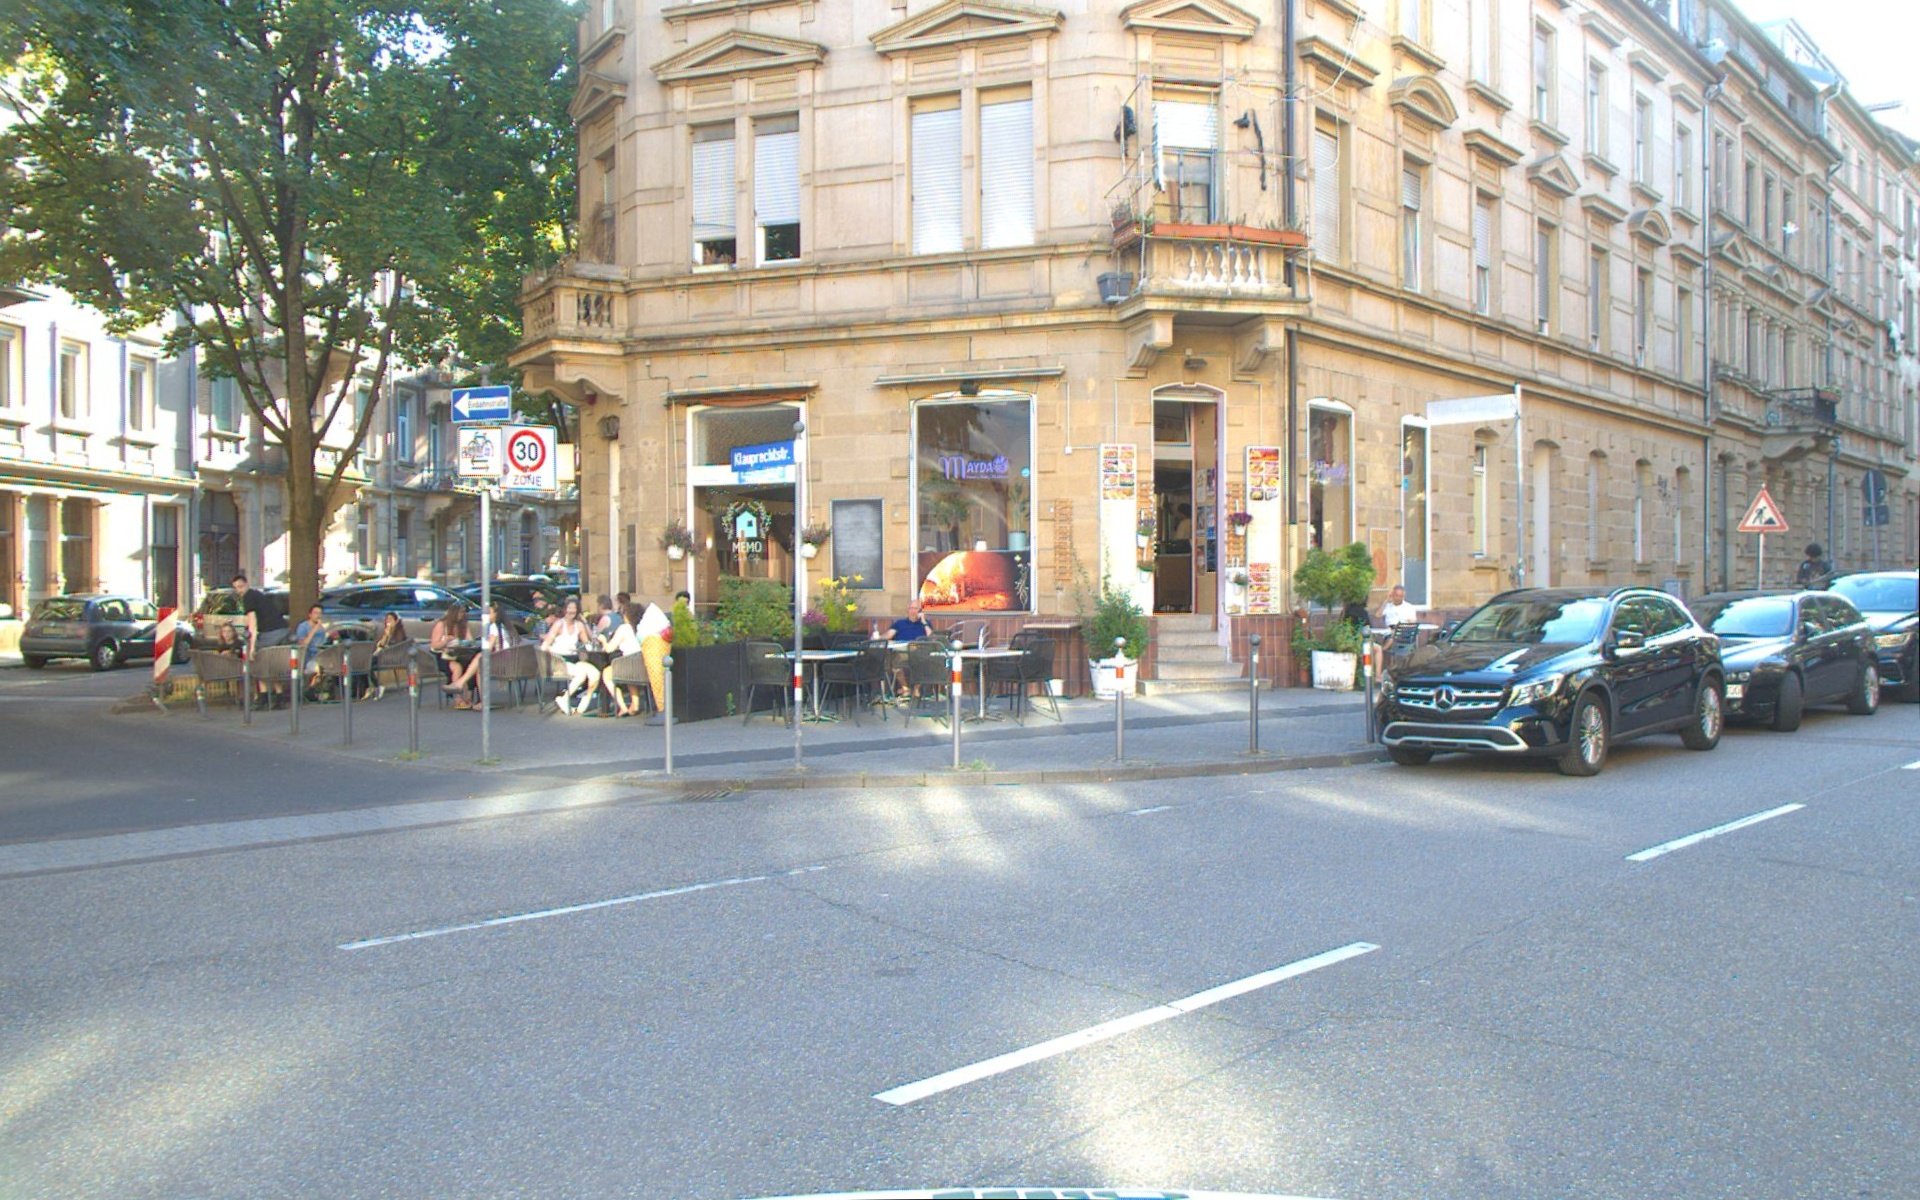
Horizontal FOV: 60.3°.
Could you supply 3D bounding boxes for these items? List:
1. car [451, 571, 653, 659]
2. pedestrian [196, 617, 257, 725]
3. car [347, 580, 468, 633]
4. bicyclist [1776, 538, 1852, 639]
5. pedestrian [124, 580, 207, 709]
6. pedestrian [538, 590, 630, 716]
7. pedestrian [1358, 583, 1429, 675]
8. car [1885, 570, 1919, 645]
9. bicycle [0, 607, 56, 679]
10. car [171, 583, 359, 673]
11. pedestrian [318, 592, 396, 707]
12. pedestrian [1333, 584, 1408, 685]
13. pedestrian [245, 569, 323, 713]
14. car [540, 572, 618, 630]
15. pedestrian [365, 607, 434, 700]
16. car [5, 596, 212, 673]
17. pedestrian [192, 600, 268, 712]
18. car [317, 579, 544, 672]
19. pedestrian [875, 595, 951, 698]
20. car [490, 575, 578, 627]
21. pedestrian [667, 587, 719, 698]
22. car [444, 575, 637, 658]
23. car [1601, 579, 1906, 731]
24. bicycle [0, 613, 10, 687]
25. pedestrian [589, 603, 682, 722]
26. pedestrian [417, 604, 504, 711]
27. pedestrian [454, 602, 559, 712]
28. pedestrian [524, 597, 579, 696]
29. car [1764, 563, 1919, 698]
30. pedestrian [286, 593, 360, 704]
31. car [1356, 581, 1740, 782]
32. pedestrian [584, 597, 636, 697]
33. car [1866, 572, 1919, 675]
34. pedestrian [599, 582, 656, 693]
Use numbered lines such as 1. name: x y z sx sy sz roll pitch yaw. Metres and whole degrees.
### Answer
1. car: -8.334 0.278 34.079 3.916 1.713 1.994 -1 0 -12
2. pedestrian: -9.393 0.897 21.180 0.567 1.343 0.498 -2 1 -40
3. car: -15.591 0.162 46.899 1.882 1.400 3.754 -1 0 5
4. bicyclist: 15.702 -0.209 30.404 0.981 1.821 1.201 0 0 40
5. pedestrian: -10.705 0.593 22.295 0.655 1.699 0.764 -2 0 38
6. pedestrian: -4.382 0.604 19.294 0.740 1.435 0.727 0 0 28
7. pedestrian: 5.950 0.391 22.699 0.713 1.235 0.753 0 0 37
8. car: 21.366 0.111 35.610 1.732 1.527 4.037 -1 0 41
9. bicycle: -17.136 0.737 28.242 3.061 1.201 0.752 -1 0 4
10. car: -14.088 0.531 33.779 1.952 1.713 4.002 -1 0 3
11. pedestrian: -7.949 0.643 21.802 0.759 1.467 0.659 -2 0 -38
12. pedestrian: 5.380 0.440 21.680 0.713 1.281 0.753 0 0 37
13. pedestrian: -8.666 0.513 21.191 0.759 1.801 0.564 -2 0 -39
14. car: -14.327 0.024 62.414 1.768 2.121 3.754 -1 0 5
15. pedestrian: -7.693 0.725 22.690 0.671 1.237 0.658 -2 0 -40
16. car: -16.690 0.637 32.639 1.882 1.400 3.754 -1 0 5
17. pedestrian: -9.670 0.730 21.903 0.759 1.437 0.659 -2 0 -37
18. car: -9.741 0.437 30.442 3.777 1.589 1.788 -1 0 -27
19. pedestrian: -0.580 0.565 20.564 0.710 1.235 0.757 0 0 20
20. car: -14.666 0.026 57.131 1.768 1.713 3.754 -1 0 5
21. pedestrian: -3.405 0.531 21.109 0.472 1.391 0.433 -1 1 31
22. car: -9.294 0.338 36.600 3.930 1.713 1.987 -1 0 -22
23. car: 9.008 0.540 18.585 1.734 1.477 4.519 -1 0 44
24. bicycle: -17.280 0.837 27.106 3.061 1.201 0.752 -1 0 4
25. pedestrian: -3.695 0.694 18.845 0.729 1.312 0.741 0 0 29
26. pedestrian: -6.174 0.698 20.437 0.693 1.270 0.746 0 1 37
27. pedestrian: -5.458 0.667 19.904 1.004 1.270 0.746 0 1 37
28. pedestrian: -5.409 0.608 21.895 0.472 1.270 0.508 0 1 37
29. car: 12.472 0.329 22.241 1.734 1.628 4.521 -1 0 43
30. pedestrian: -8.691 0.655 22.559 0.759 1.467 0.659 -2 0 -38
31. car: 5.341 0.617 14.735 1.733 1.514 4.112 -1 0 43
32. pedestrian: -4.535 0.598 21.428 0.472 1.270 0.432 0 1 37
33. car: 15.891 0.310 26.268 1.733 1.527 4.035 -1 0 42
34. pedestrian: -4.469 0.494 22.234 0.557 1.456 0.481 -1 1 29
